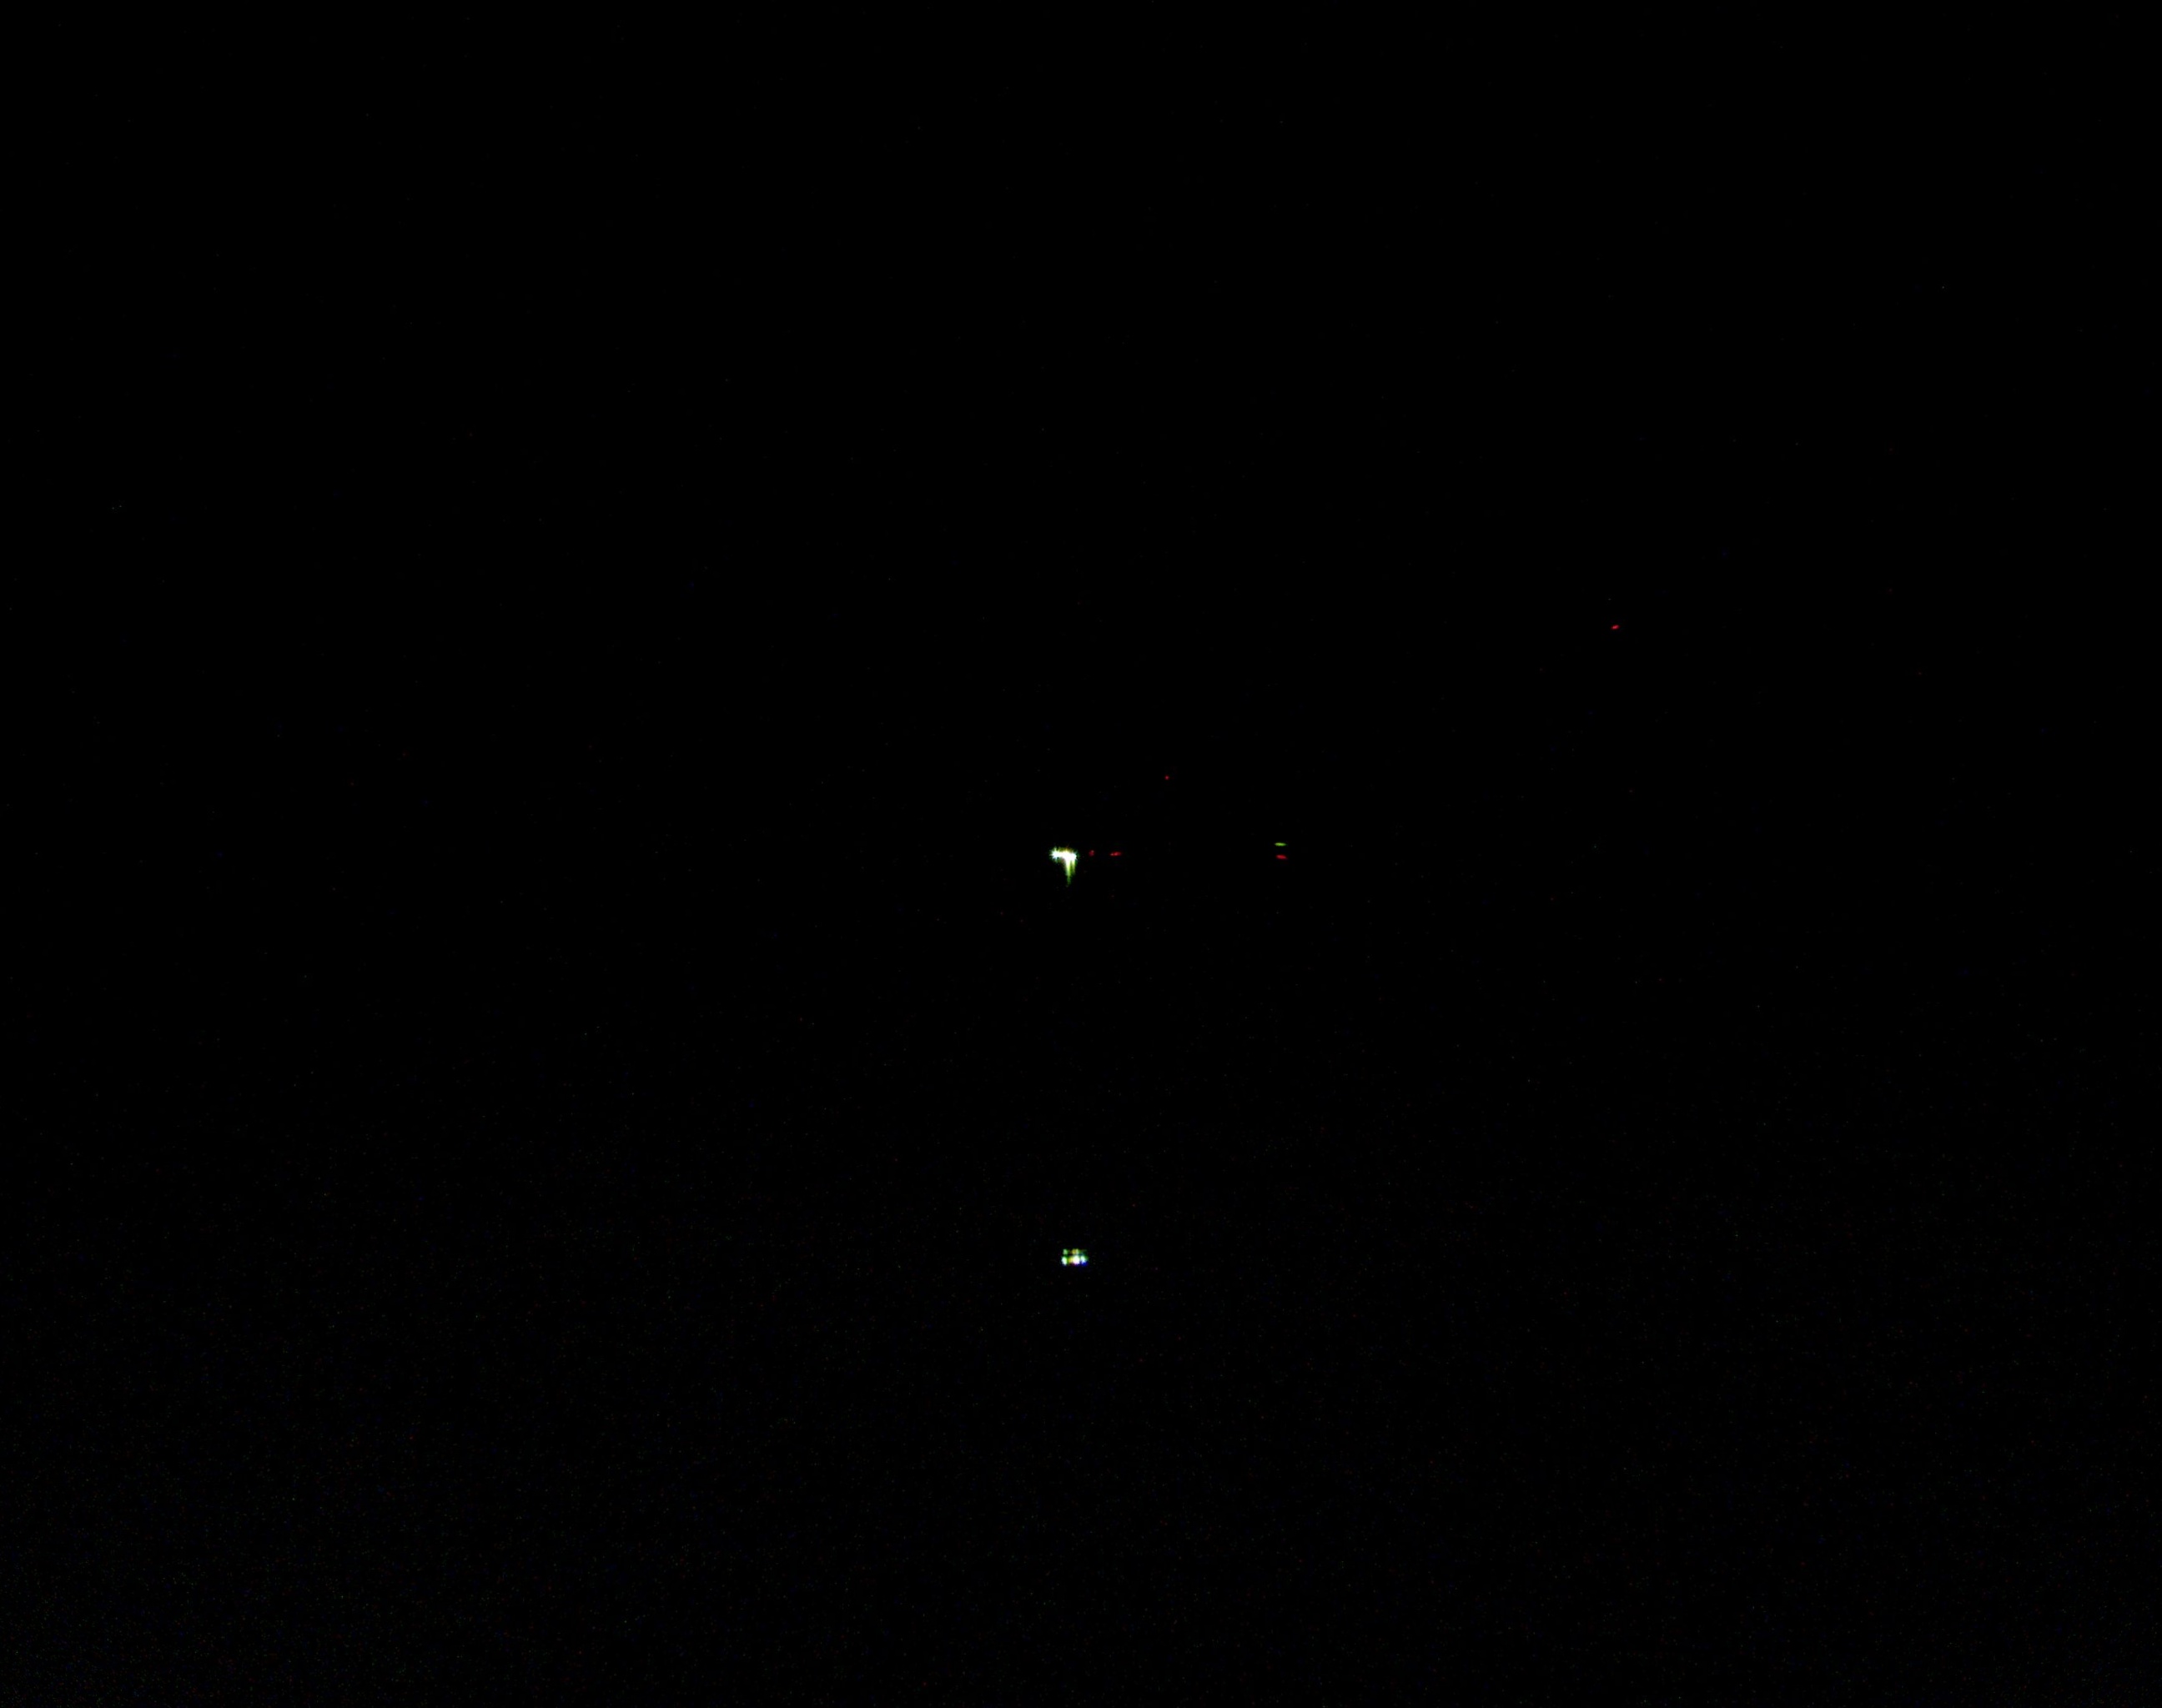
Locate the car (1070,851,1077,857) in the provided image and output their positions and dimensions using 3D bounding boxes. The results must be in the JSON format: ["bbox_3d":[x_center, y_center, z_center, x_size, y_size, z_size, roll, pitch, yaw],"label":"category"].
[{"bbox_3d":[-2.055,0.006,214.903,1.860,1.608,3.999,-1,1,-1],"label":"car"}]

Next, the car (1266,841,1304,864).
[{"bbox_3d":[22.861,-0.226,85.313,2.397,2.438,6.669,-2,1,0],"label":"car"}]
